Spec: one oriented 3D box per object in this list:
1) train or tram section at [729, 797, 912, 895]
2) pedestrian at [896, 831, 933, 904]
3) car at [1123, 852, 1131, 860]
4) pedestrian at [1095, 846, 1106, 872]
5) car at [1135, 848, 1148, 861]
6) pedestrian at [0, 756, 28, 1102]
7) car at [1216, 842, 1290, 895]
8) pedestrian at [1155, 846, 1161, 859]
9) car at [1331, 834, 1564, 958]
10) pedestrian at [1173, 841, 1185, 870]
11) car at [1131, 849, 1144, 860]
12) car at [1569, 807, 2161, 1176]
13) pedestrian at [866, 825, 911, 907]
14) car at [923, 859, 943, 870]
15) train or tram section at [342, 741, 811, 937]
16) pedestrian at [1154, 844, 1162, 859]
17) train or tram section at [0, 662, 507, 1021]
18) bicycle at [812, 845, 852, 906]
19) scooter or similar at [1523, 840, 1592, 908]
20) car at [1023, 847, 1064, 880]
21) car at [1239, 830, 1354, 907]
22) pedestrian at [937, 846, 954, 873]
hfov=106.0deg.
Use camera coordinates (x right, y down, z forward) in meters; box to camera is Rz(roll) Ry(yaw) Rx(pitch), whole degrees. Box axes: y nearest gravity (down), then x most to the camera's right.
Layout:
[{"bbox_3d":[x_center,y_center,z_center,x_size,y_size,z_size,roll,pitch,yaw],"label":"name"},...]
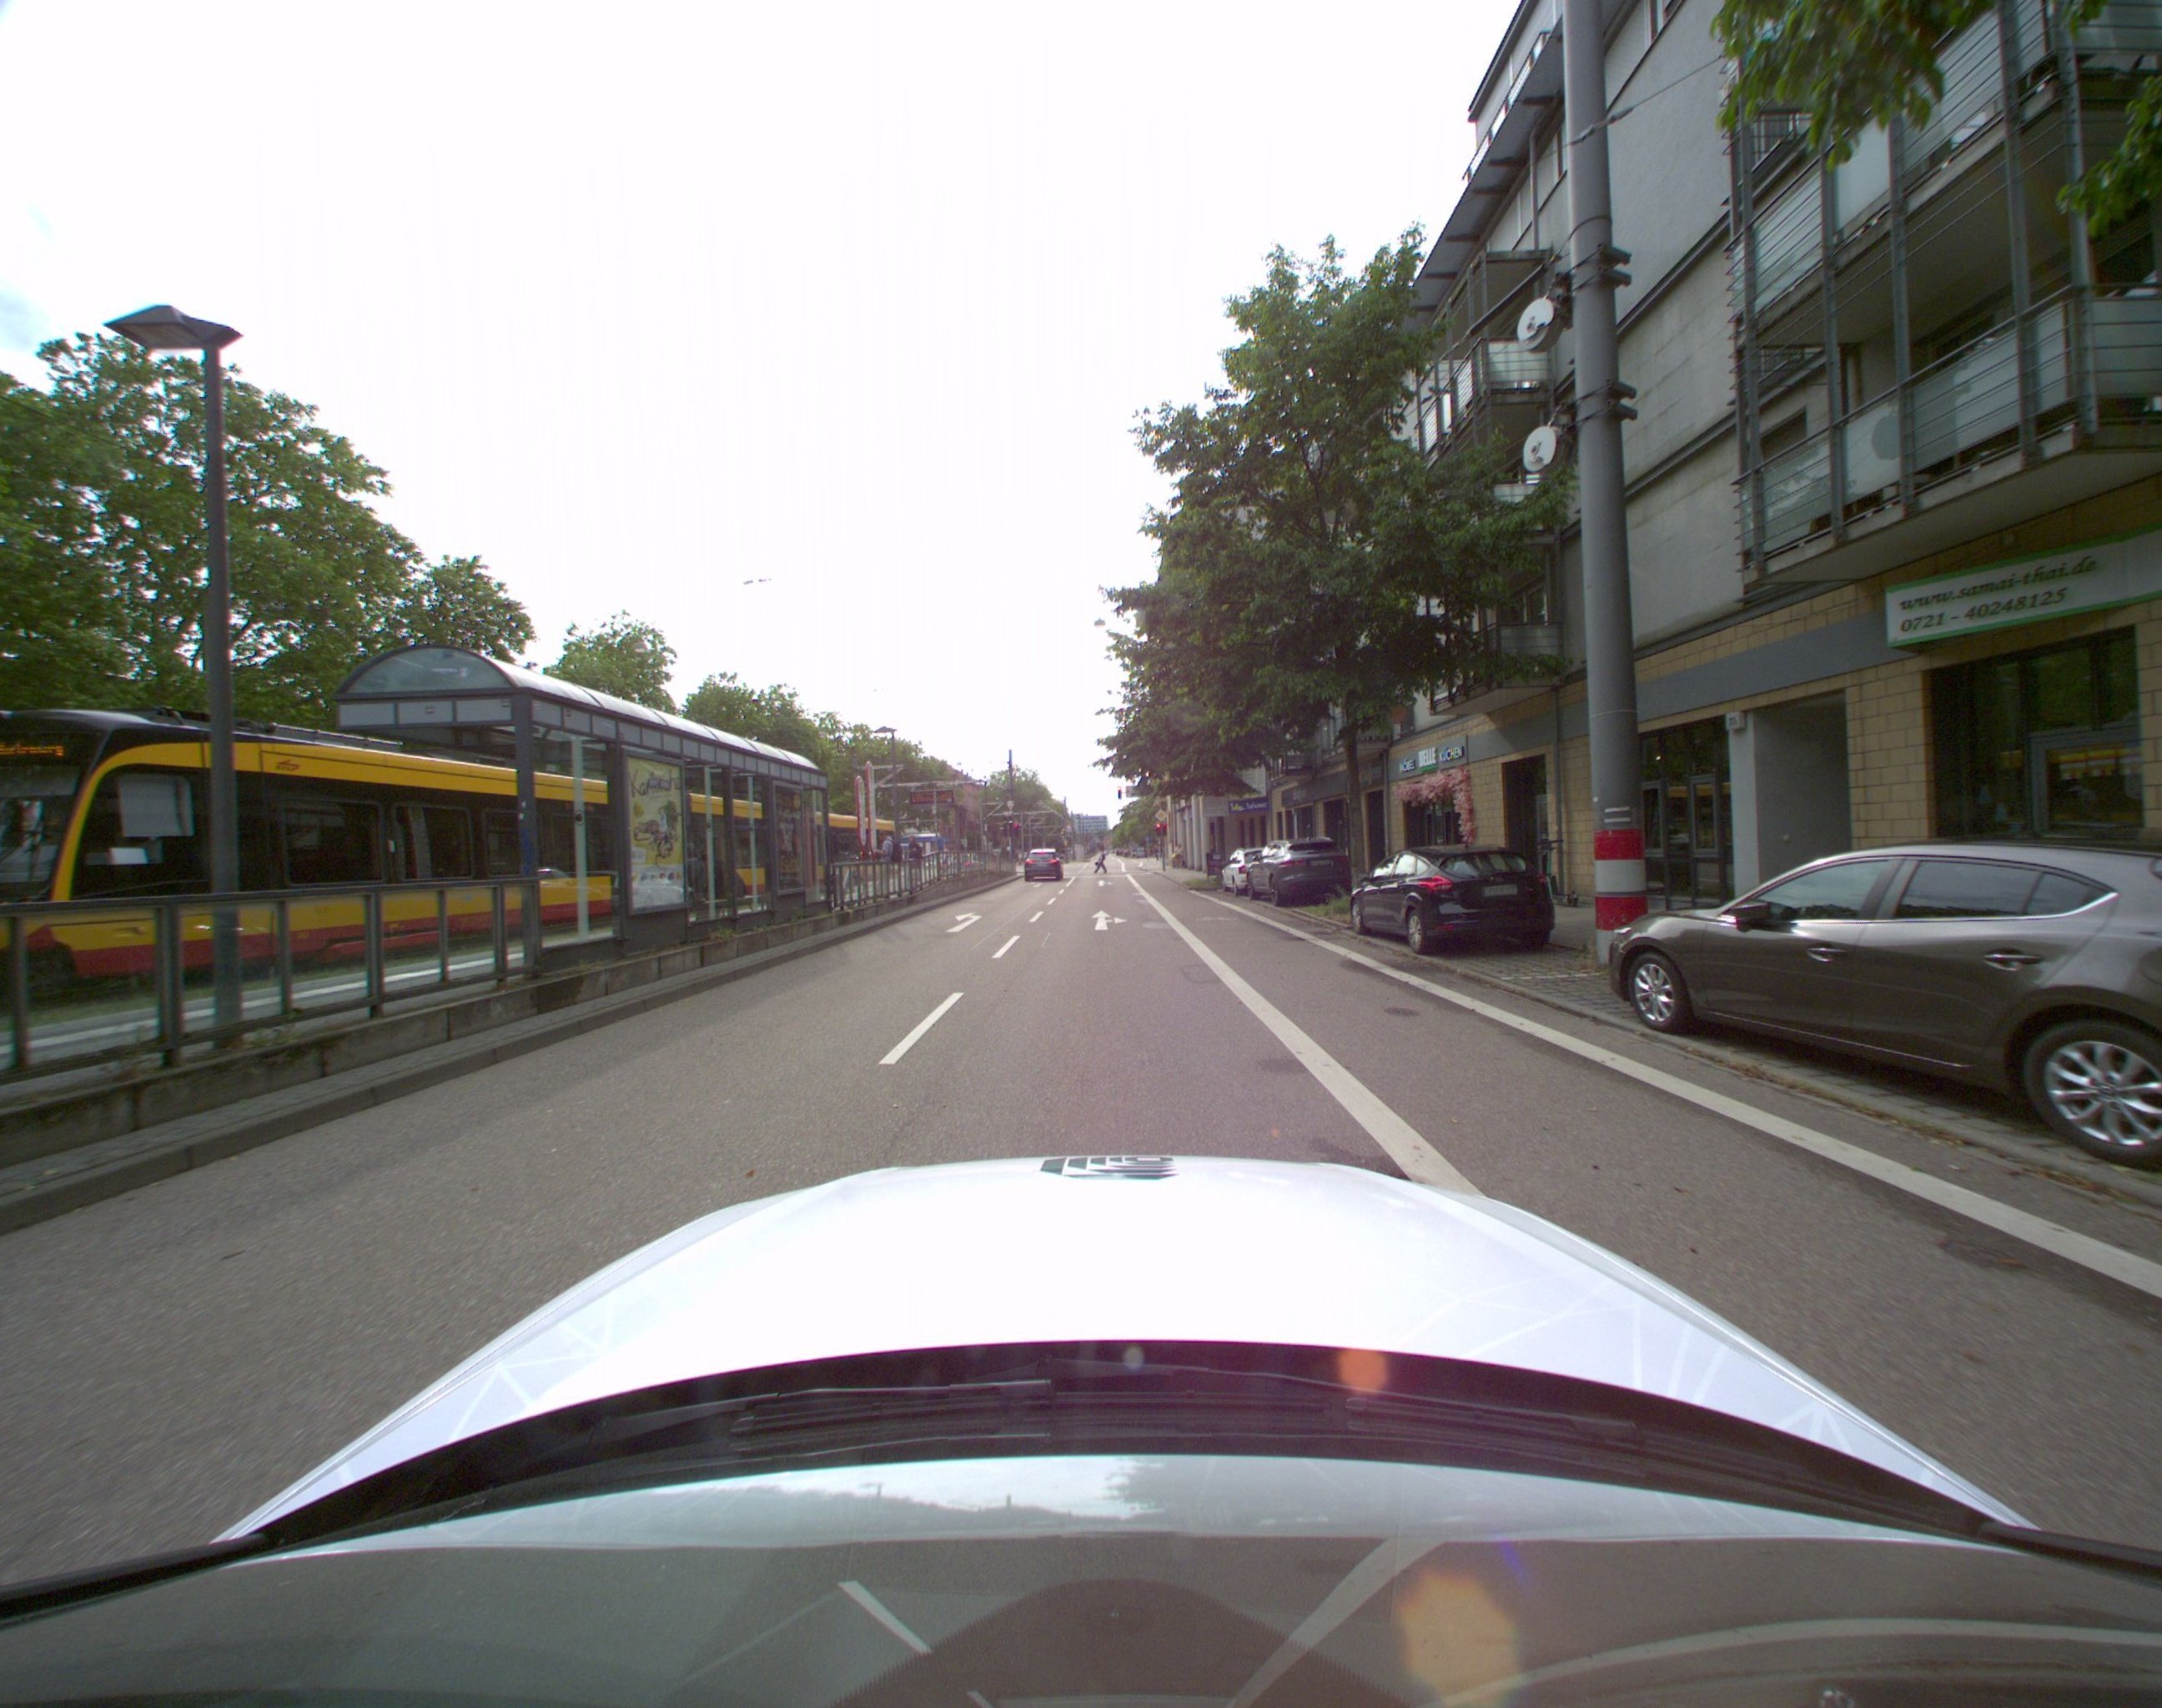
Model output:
[{"bbox_3d":[-11.280,-0.303,38.037,3.048,3.588,15.854,-1,0,2],"label":"train or tram section"},{"bbox_3d":[-4.758,0.376,23.284,0.758,2.013,0.809,0,0,-36],"label":"pedestrian"},{"bbox_3d":[12.154,0.624,214.137,1.986,2.013,4.001,-1,0,1],"label":"car"},{"bbox_3d":[1.237,0.315,51.547,0.725,1.661,0.756,-1,0,1],"label":"pedestrian"},{"bbox_3d":[9.811,0.095,132.304,1.986,2.013,4.001,-1,0,1],"label":"car"},{"bbox_3d":[-5.364,0.354,3.579,0.510,1.632,0.730,-1,0,3],"label":"pedestrian"},{"bbox_3d":[5.648,0.453,27.237,1.669,1.499,4.393,-4,0,3],"label":"car"},{"bbox_3d":[8.953,-0.147,94.727,0.544,1.537,0.465,-1,0,-3],"label":"pedestrian"},{"bbox_3d":[5.295,0.527,12.467,1.669,1.441,4.411,-4,0,3],"label":"car"},{"bbox_3d":[6.133,0.079,50.881,0.613,1.805,0.738,-3,0,3],"label":"pedestrian"},{"bbox_3d":[9.798,0.098,141.744,1.986,2.013,4.001,-1,0,1],"label":"car"},{"bbox_3d":[5.270,0.532,5.009,1.792,1.455,4.387,-5,0,-1],"label":"car"},{"bbox_3d":[-4.850,0.307,20.540,0.746,2.013,0.823,-1,0,24],"label":"pedestrian"},{"bbox_3d":[-18.388,1.283,101.576,1.628,1.325,4.001,-1,0,1],"label":"car"},{"bbox_3d":[-11.724,-0.274,22.474,3.048,3.532,15.300,-1,0,2],"label":"train or tram section"},{"bbox_3d":[8.733,-0.256,92.644,0.848,1.654,0.508,-1,0,-1],"label":"pedestrian"},{"bbox_3d":[-12.173,-0.112,7.161,3.048,3.532,15.300,-1,0,2],"label":"train or tram section"},{"bbox_3d":[-5.201,0.433,17.046,0.417,1.222,1.290,-1,0,1],"label":"bicycle"},{"bbox_3d":[8.973,0.365,15.372,0.515,1.200,1.214,-5,0,1],"label":"scooter or similar"},{"bbox_3d":[-1.908,0.464,43.060,1.873,1.601,4.358,-1,0,1],"label":"car"},{"bbox_3d":[5.577,0.354,21.728,1.706,1.717,4.711,-4,0,0],"label":"car"},{"bbox_3d":[-8.908,0.366,53.550,0.906,1.784,0.651,-1,0,39],"label":"pedestrian"}]
